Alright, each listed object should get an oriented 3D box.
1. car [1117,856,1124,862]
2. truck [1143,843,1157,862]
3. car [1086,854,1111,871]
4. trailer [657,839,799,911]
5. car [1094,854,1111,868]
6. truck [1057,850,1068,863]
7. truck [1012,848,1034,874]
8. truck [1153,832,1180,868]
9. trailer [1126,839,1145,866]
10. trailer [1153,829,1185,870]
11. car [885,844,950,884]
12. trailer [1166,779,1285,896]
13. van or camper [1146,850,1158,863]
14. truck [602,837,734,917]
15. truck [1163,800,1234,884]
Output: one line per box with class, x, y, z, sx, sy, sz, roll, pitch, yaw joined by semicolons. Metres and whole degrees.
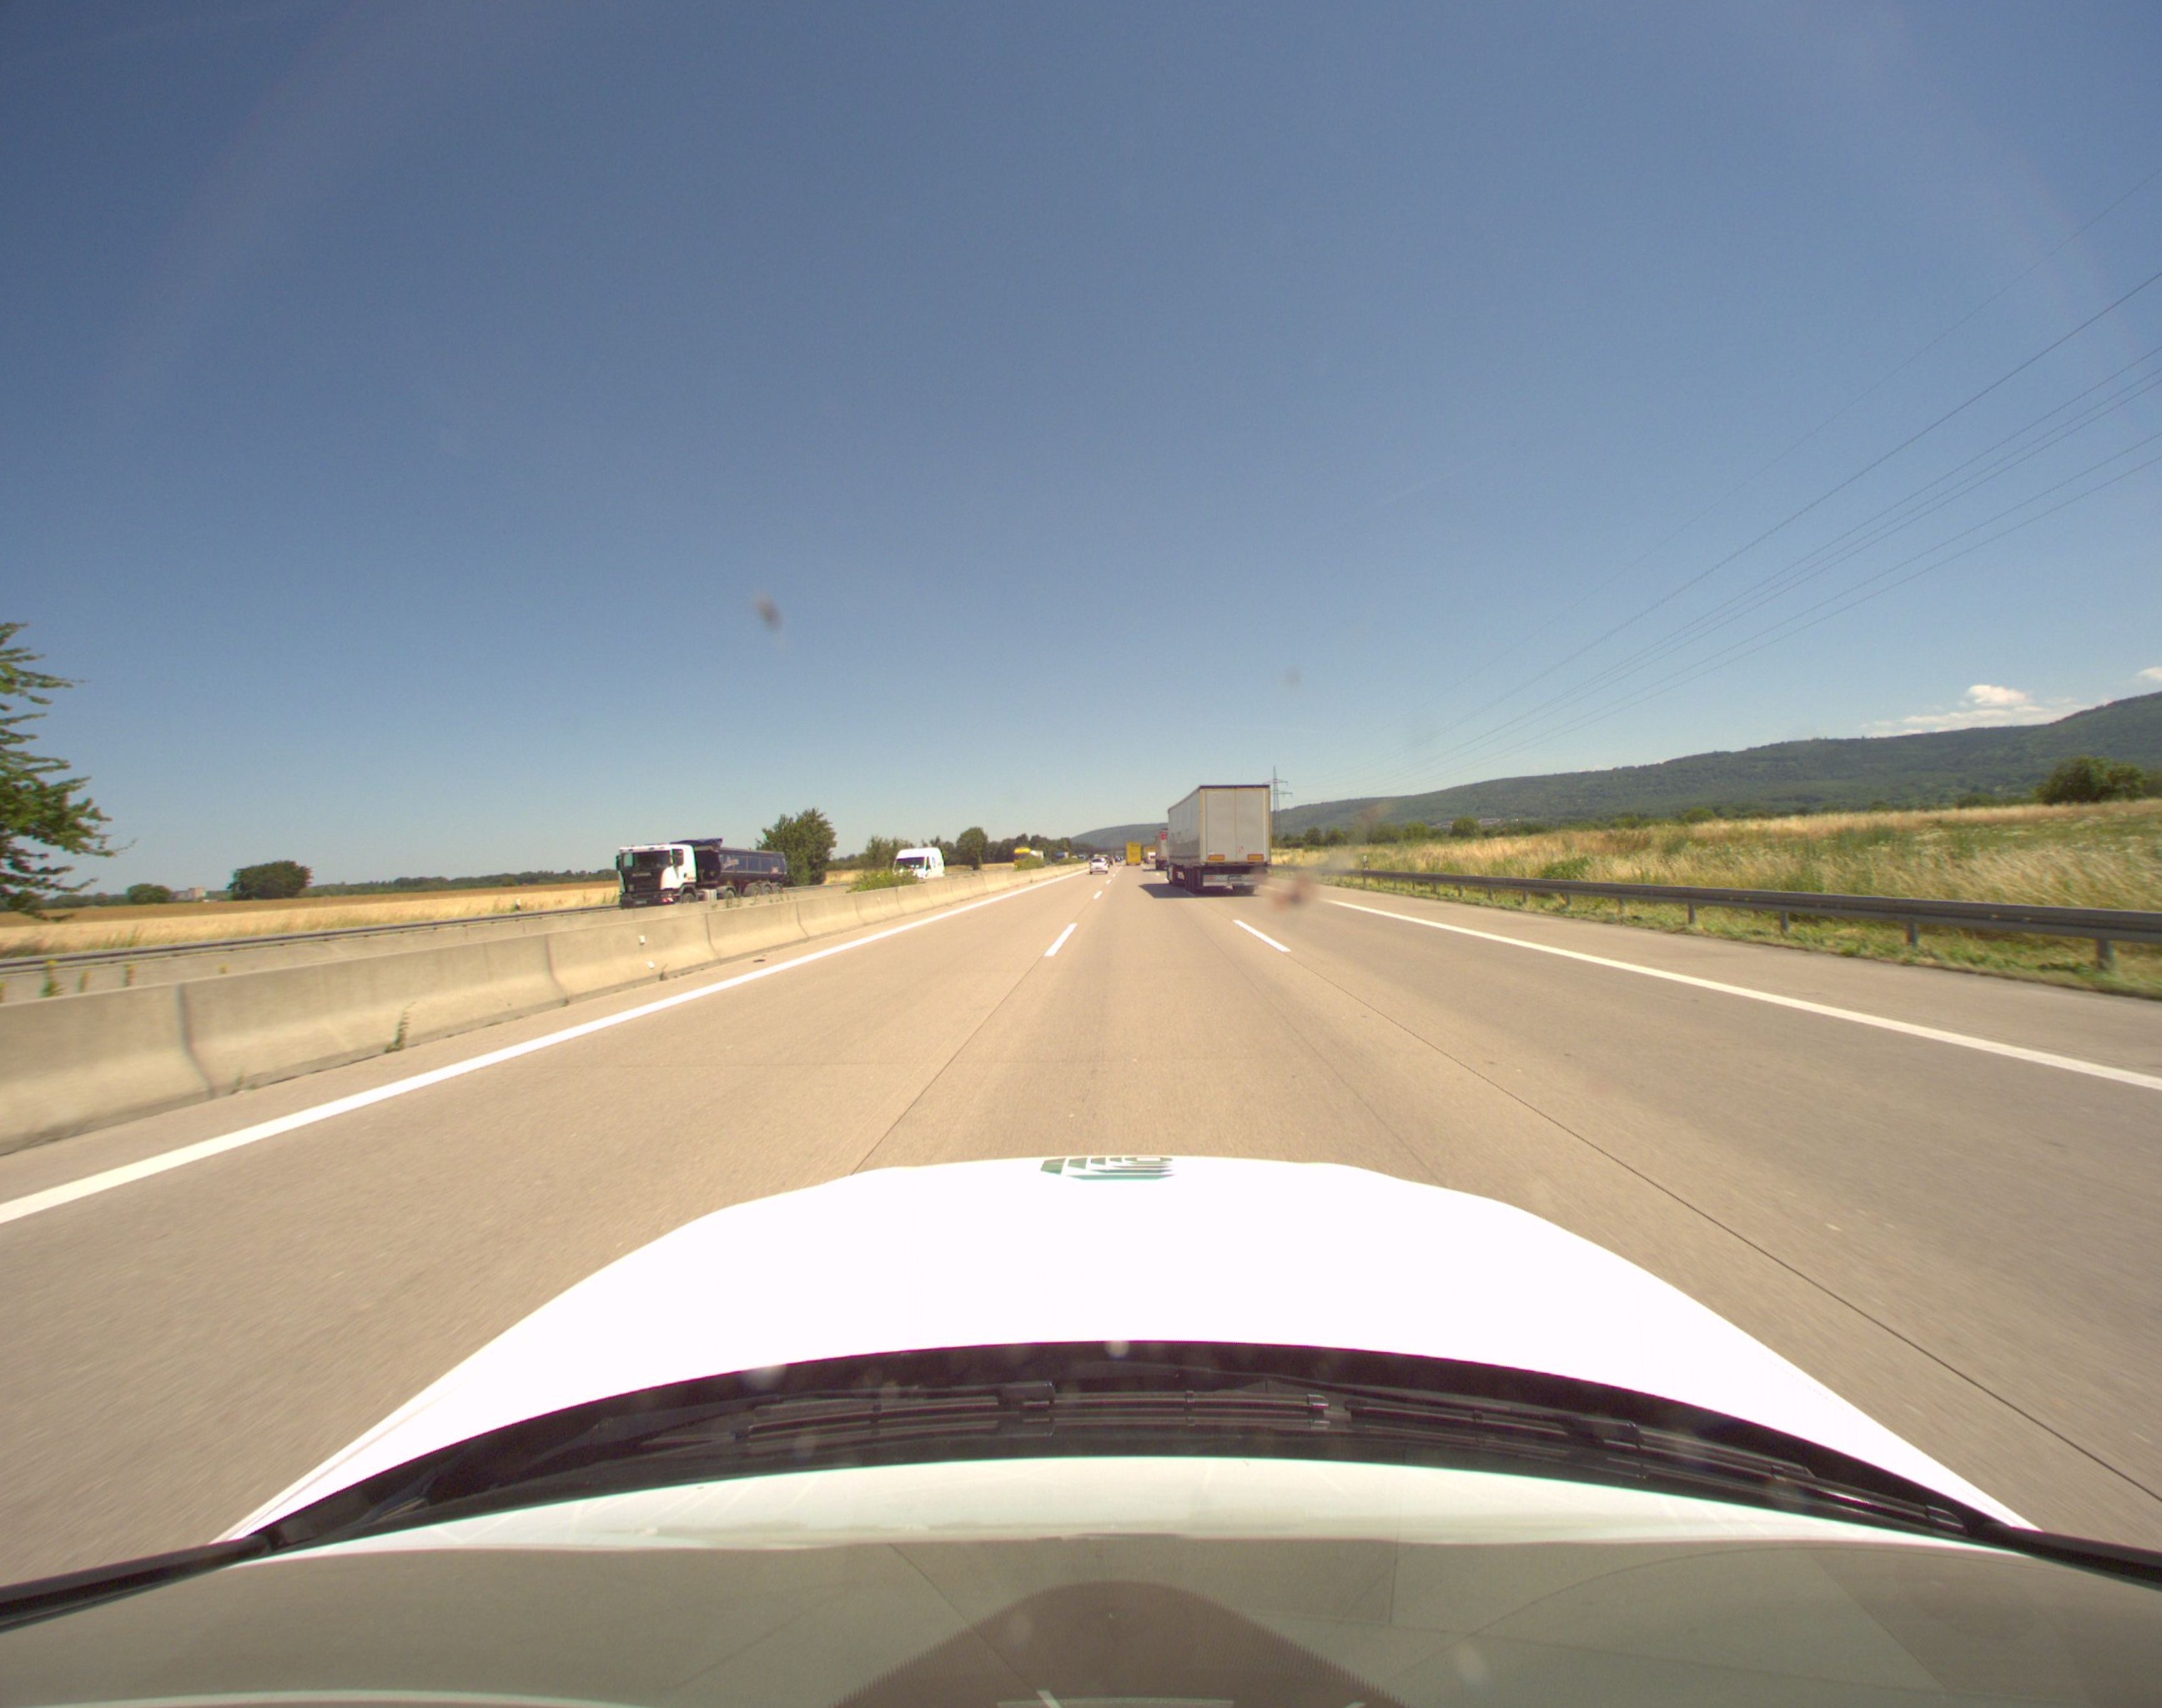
car;11.337;1.433;233.459;1.776;1.881;4.004;-1;0;4
truck;16.206;-0.365;192.961;2.986;4.314;9.692;-1;0;3
car;1.713;0.828;77.021;2.097;1.536;4.127;-1;0;5
trailer;-18.028;0.970;42.510;2.816;3.304;9.470;-1;0;3
car;3.297;1.009;123.104;2.244;2.013;4.302;-1;0;4
truck;-5.557;0.738;241.548;2.885;3.864;5.689;-1;0;3
truck;-9.156;1.104;128.478;2.732;4.080;5.544;-1;0;3
truck;9.960;-0.447;95.374;2.893;4.100;6.279;-1;0;4
trailer;9.998;-0.268;149.901;3.202;4.563;13.469;-1;0;4
trailer;9.469;-0.455;88.800;2.861;4.100;13.528;-1;0;4
car;-9.411;0.547;47.477;2.201;2.188;6.330;-1;0;3
trailer;5.804;-0.571;35.662;3.007;4.061;14.211;-1;0;2
van or camper;14.271;0.454;164.786;2.215;2.531;5.435;-1;0;3
truck;-18.339;0.961;36.617;2.795;3.304;5.618;-1;0;3
truck;5.967;-0.573;42.211;2.974;4.062;5.479;-1;0;1
